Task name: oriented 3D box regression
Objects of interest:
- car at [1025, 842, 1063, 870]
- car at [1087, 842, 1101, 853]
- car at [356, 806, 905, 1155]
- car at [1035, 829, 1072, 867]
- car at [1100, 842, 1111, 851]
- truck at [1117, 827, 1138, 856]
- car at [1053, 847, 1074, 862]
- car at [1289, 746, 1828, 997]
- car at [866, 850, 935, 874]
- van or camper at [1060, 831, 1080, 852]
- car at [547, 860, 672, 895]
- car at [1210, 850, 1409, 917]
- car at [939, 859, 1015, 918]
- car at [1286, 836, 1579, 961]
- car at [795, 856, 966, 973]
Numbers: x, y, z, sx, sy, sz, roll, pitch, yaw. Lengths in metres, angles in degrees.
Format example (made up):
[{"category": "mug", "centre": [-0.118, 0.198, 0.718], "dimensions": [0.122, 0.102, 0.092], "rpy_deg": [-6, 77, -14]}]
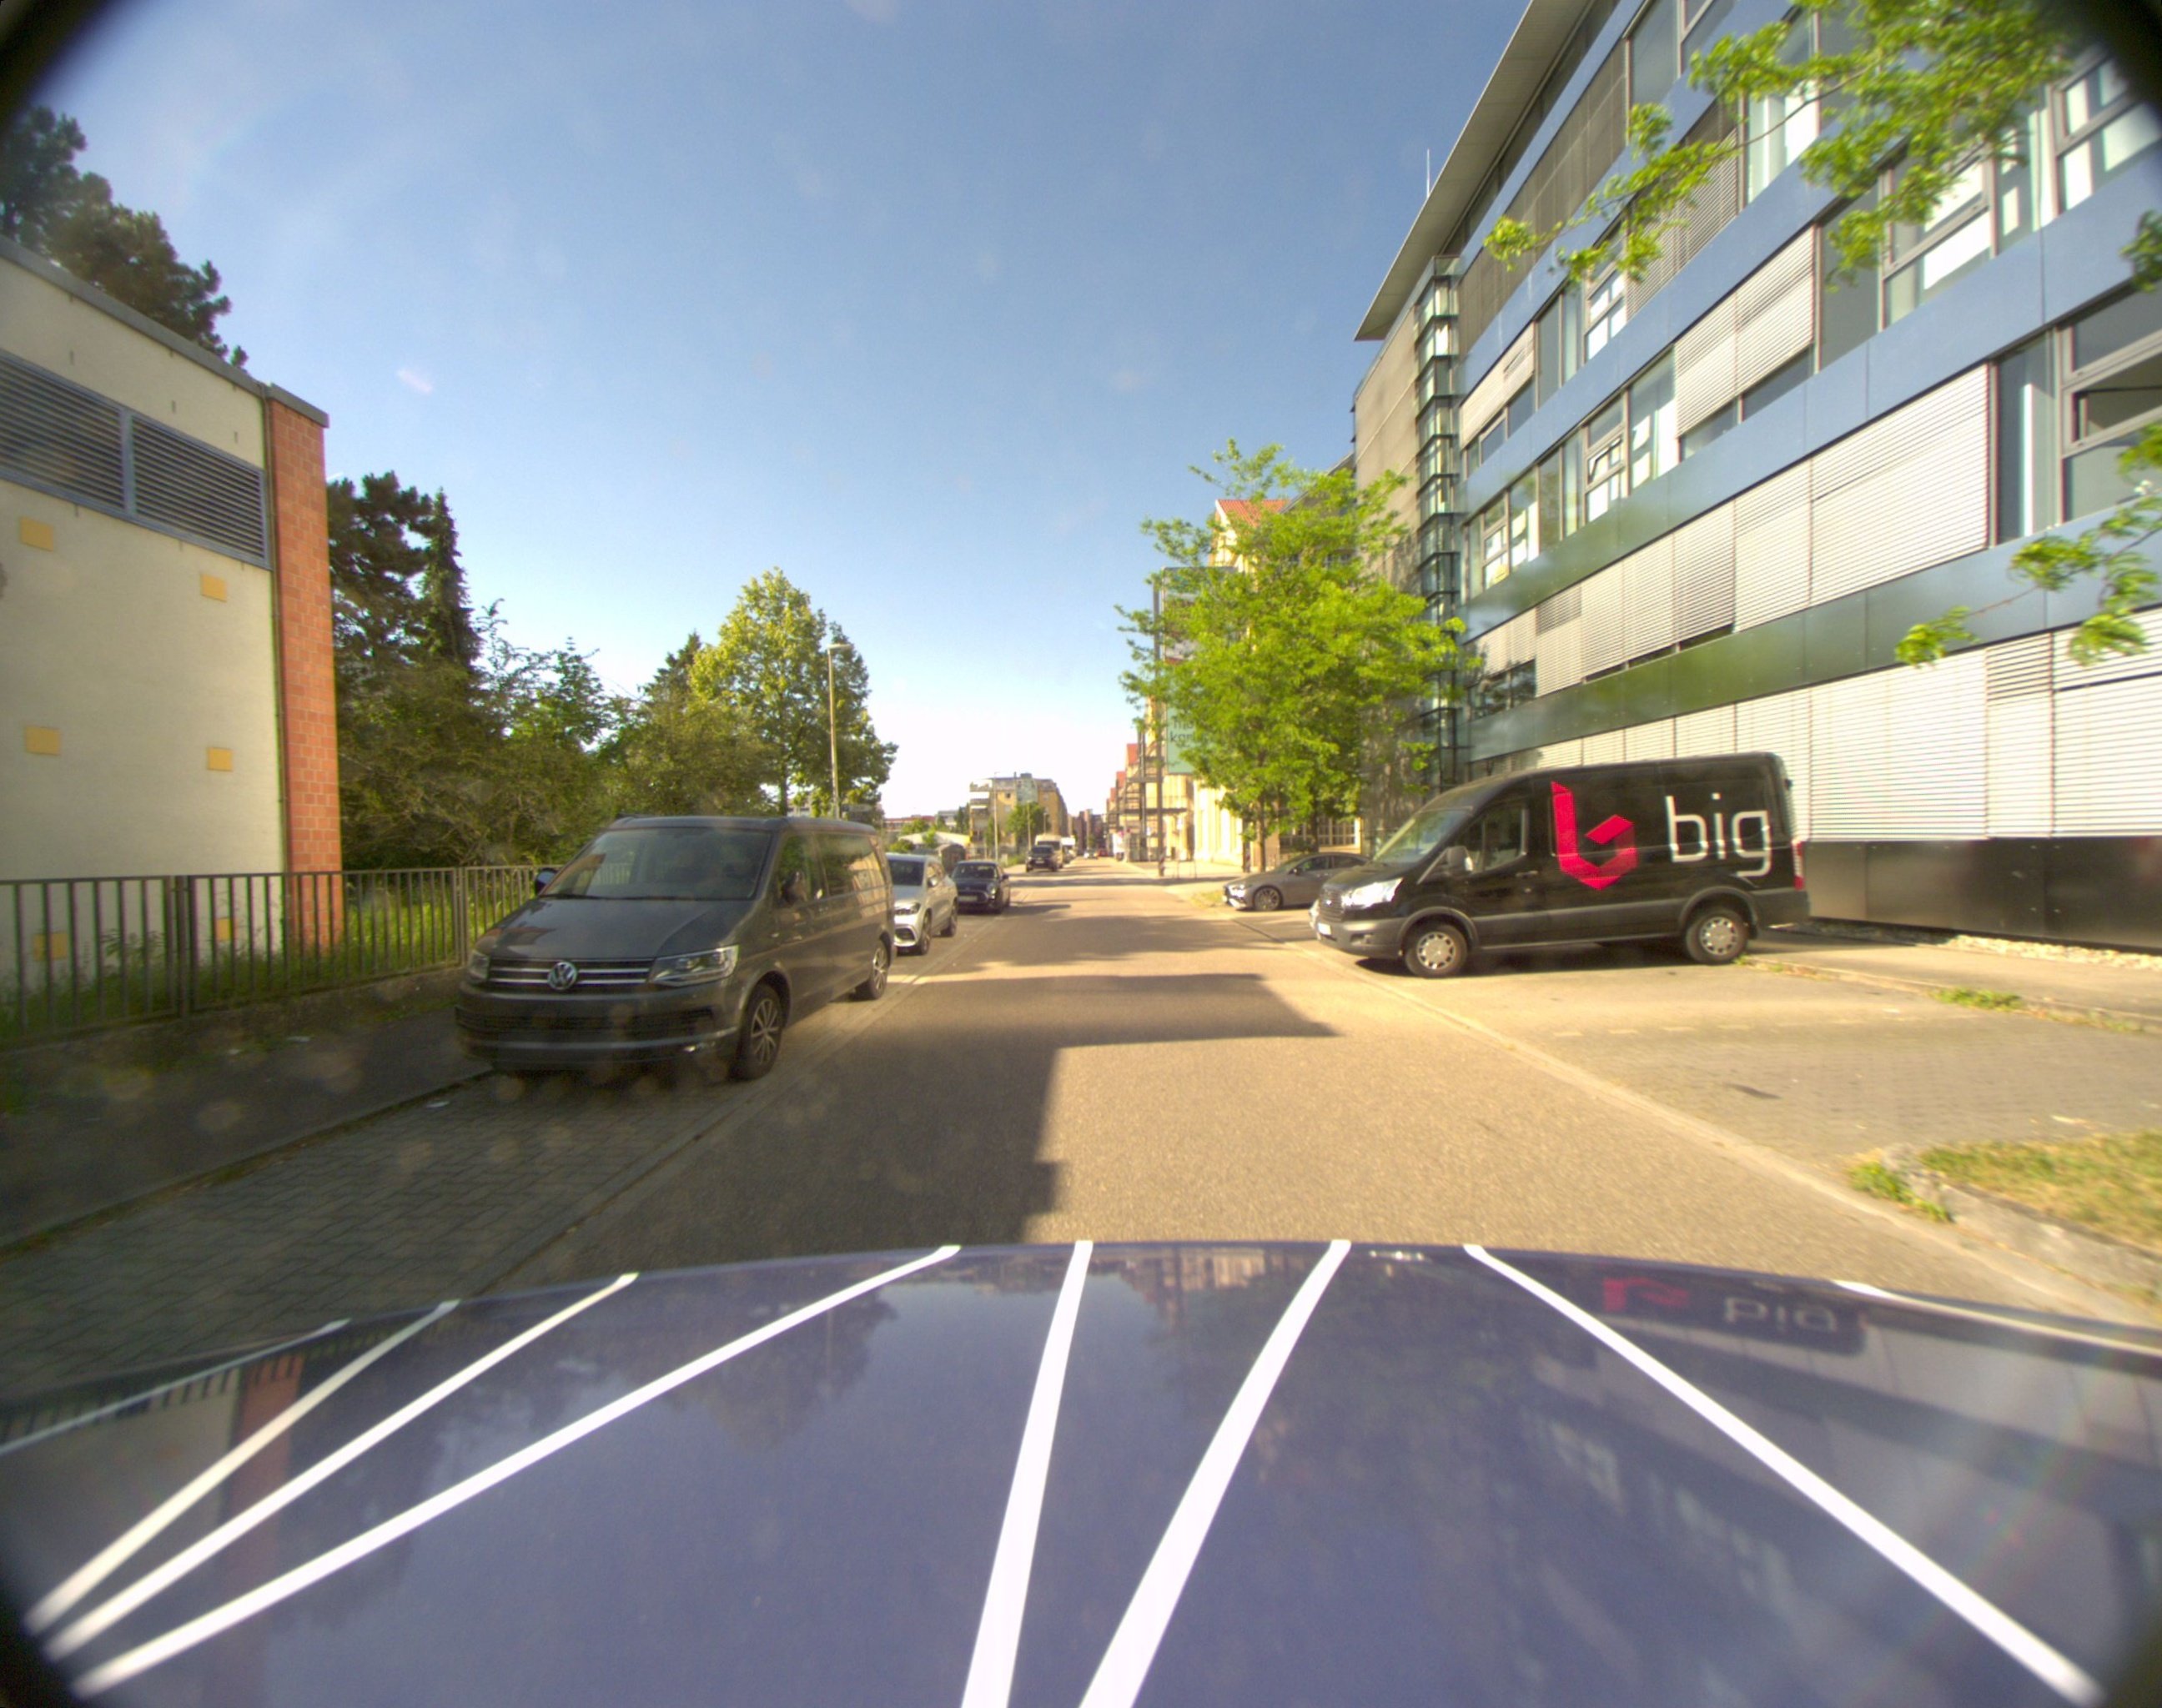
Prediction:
[{"category": "car", "centre": [-2.310, 0.106, 48.207], "dimensions": [1.998, 1.686, 4.103], "rpy_deg": [-1, 1, 3]}, {"category": "car", "centre": [1.730, -0.847, 99.145], "dimensions": [1.850, 1.417, 4.224], "rpy_deg": [-1, 1, 1]}, {"category": "car", "centre": [-3.135, 0.694, 6.770], "dimensions": [1.948, 2.010, 4.824], "rpy_deg": [0, 1, 1]}, {"category": "car", "centre": [-2.019, -0.455, 57.143], "dimensions": [2.163, 2.582, 6.284], "rpy_deg": [-2, 1, 3]}, {"category": "car", "centre": [4.210, -1.285, 129.477], "dimensions": [1.760, 1.440, 4.000], "rpy_deg": [-1, 1, 3]}, {"category": "truck", "centre": [5.757, -1.559, 95.115], "dimensions": [2.498, 3.412, 7.127], "rpy_deg": [-1, 1, 3]}, {"category": "car", "centre": [-1.719, 0.005, 75.384], "dimensions": [1.850, 1.417, 4.225], "rpy_deg": [-2, 0, 1]}, {"category": "car", "centre": [5.774, 0.191, 9.805], "dimensions": [5.468, 2.608, 2.231], "rpy_deg": [-3, 1, 0]}, {"category": "car", "centre": [-13.010, 0.545, 54.978], "dimensions": [4.422, 1.600, 2.000], "rpy_deg": [-1, 1, 3]}, {"category": "van or camper", "centre": [-1.549, -1.732, 107.263], "dimensions": [2.722, 2.841, 5.132], "rpy_deg": [-1, 1, 0]}, {"category": "car", "centre": [-20.663, 1.006, 33.413], "dimensions": [4.420, 1.414, 1.752], "rpy_deg": [-1, 1, 1]}, {"category": "car", "centre": [5.807, 0.726, 19.743], "dimensions": [4.546, 1.343, 1.892], "rpy_deg": [-4, 1, 0]}, {"category": "car", "centre": [-2.887, 0.918, 21.782], "dimensions": [1.656, 1.464, 3.763], "rpy_deg": [0, 1, 0]}, {"category": "car", "centre": [5.554, 0.658, 12.385], "dimensions": [3.841, 1.636, 1.892], "rpy_deg": [-4, 1, -1]}, {"category": "car", "centre": [-3.277, 0.899, 13.336], "dimensions": [1.830, 1.620, 4.293], "rpy_deg": [0, 1, 1]}]
